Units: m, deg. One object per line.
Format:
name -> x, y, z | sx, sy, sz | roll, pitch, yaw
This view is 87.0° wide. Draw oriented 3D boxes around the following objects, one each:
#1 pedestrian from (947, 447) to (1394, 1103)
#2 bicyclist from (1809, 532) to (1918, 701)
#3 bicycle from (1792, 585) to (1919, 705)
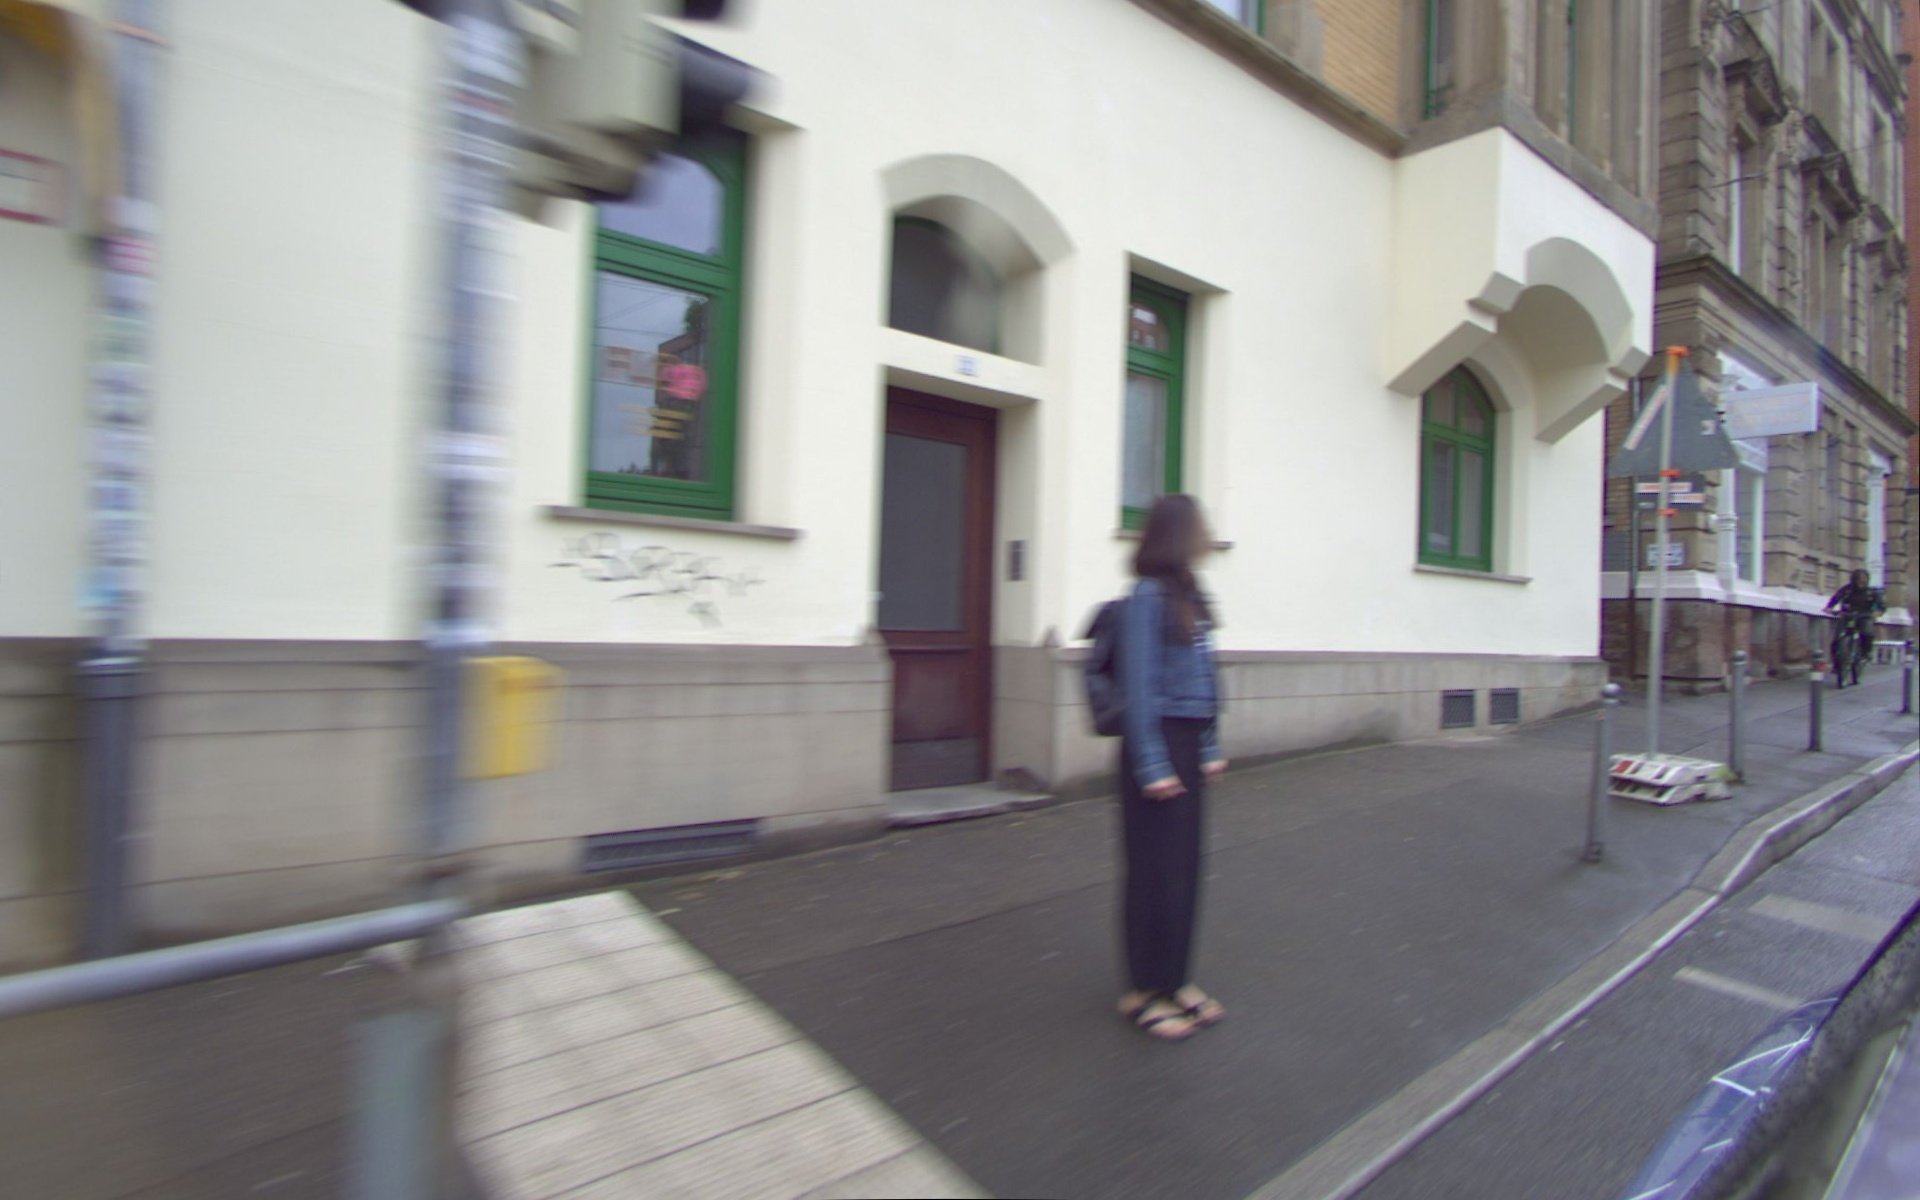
pedestrian -> 0.658, 0.436, 3.346 | 0.913, 1.741, 1.020 | 0, 4, -37
bicyclist -> 12.961, 0.216, 14.514 | 1.264, 2.291, 0.921 | 0, 1, -37
bicycle -> 13.045, 0.584, 14.586 | 3.077, 1.574, 0.937 | 0, 0, -37
